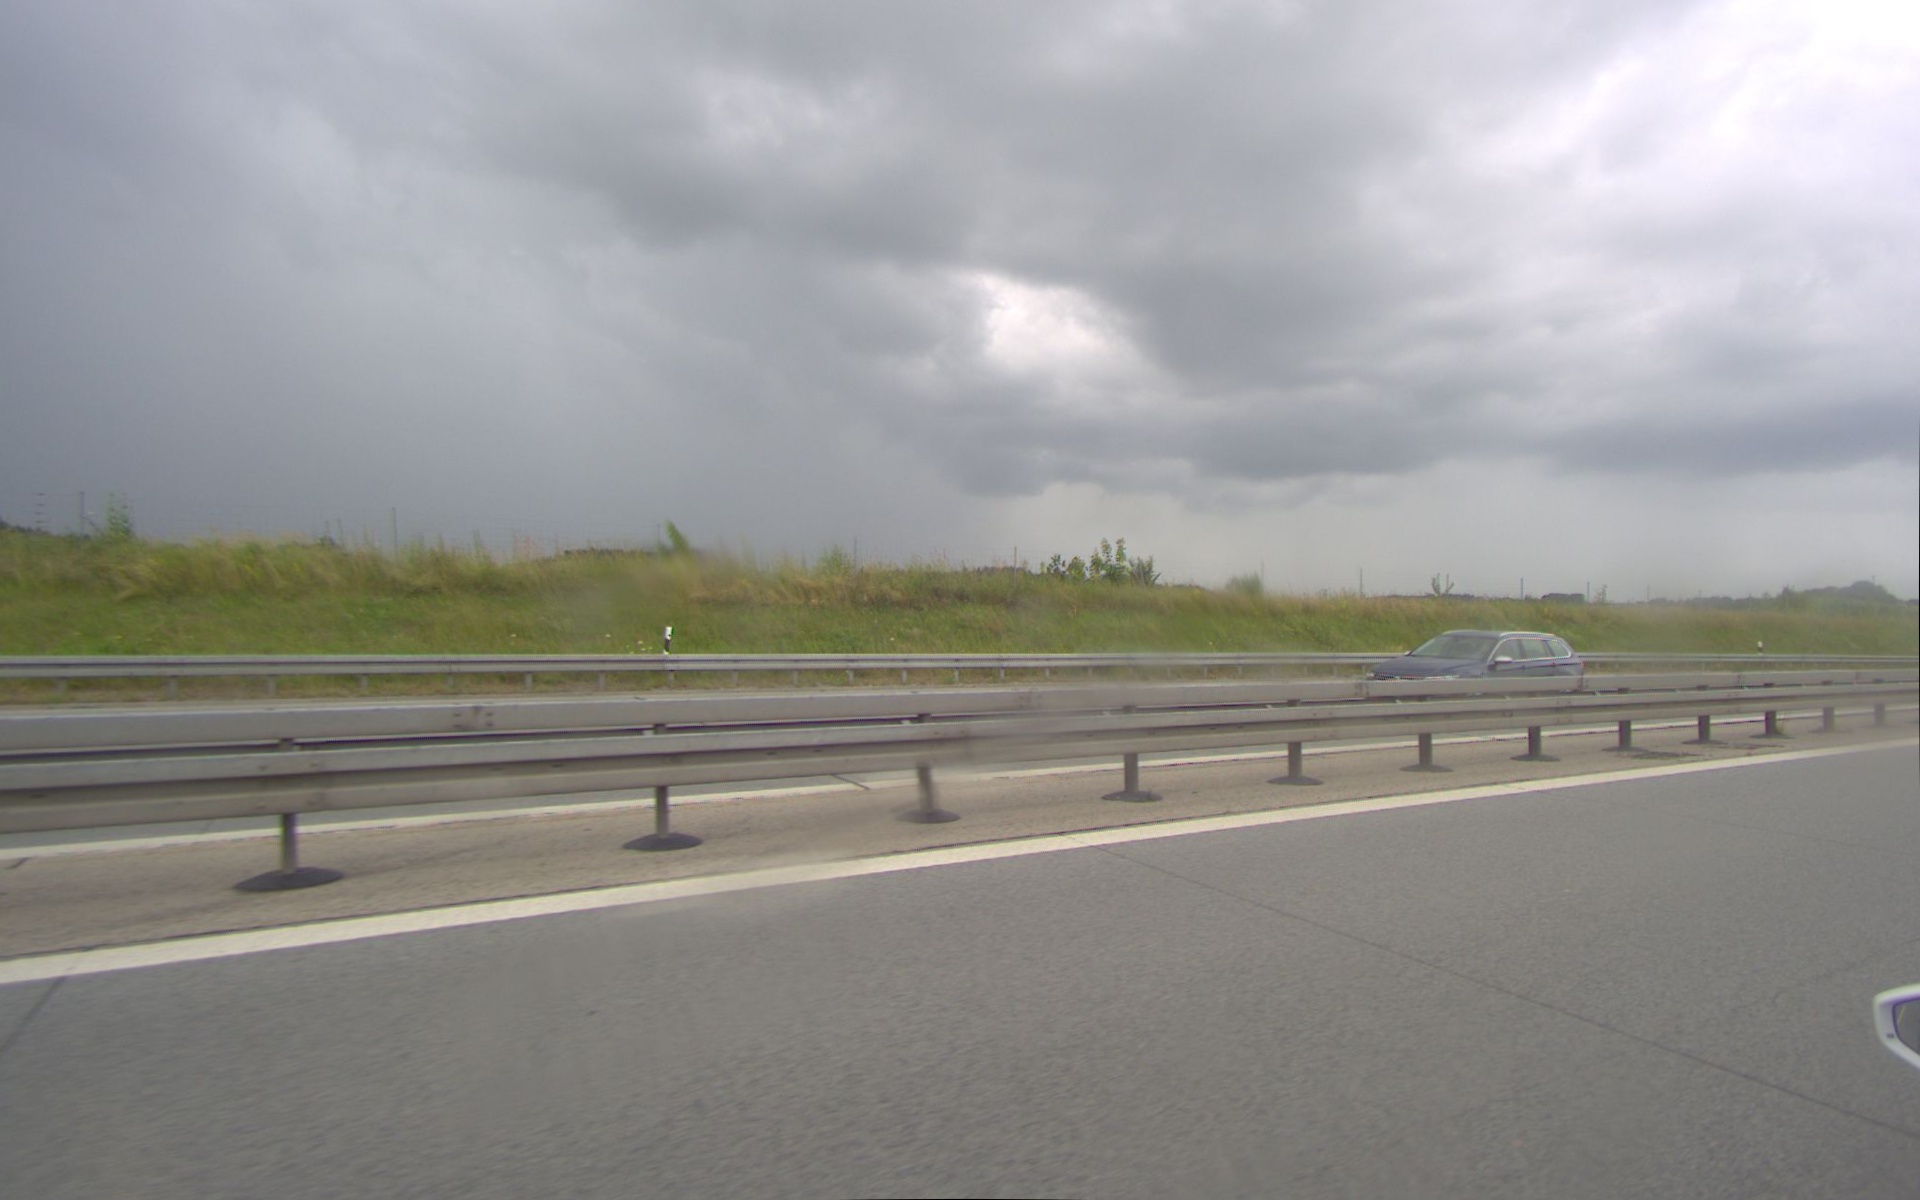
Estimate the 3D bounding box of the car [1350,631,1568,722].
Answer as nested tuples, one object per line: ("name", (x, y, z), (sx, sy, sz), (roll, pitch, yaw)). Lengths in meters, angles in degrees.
("car", (8.999, 1.310, 18.042), (3.956, 1.443, 1.753), (2, -1, -33))
